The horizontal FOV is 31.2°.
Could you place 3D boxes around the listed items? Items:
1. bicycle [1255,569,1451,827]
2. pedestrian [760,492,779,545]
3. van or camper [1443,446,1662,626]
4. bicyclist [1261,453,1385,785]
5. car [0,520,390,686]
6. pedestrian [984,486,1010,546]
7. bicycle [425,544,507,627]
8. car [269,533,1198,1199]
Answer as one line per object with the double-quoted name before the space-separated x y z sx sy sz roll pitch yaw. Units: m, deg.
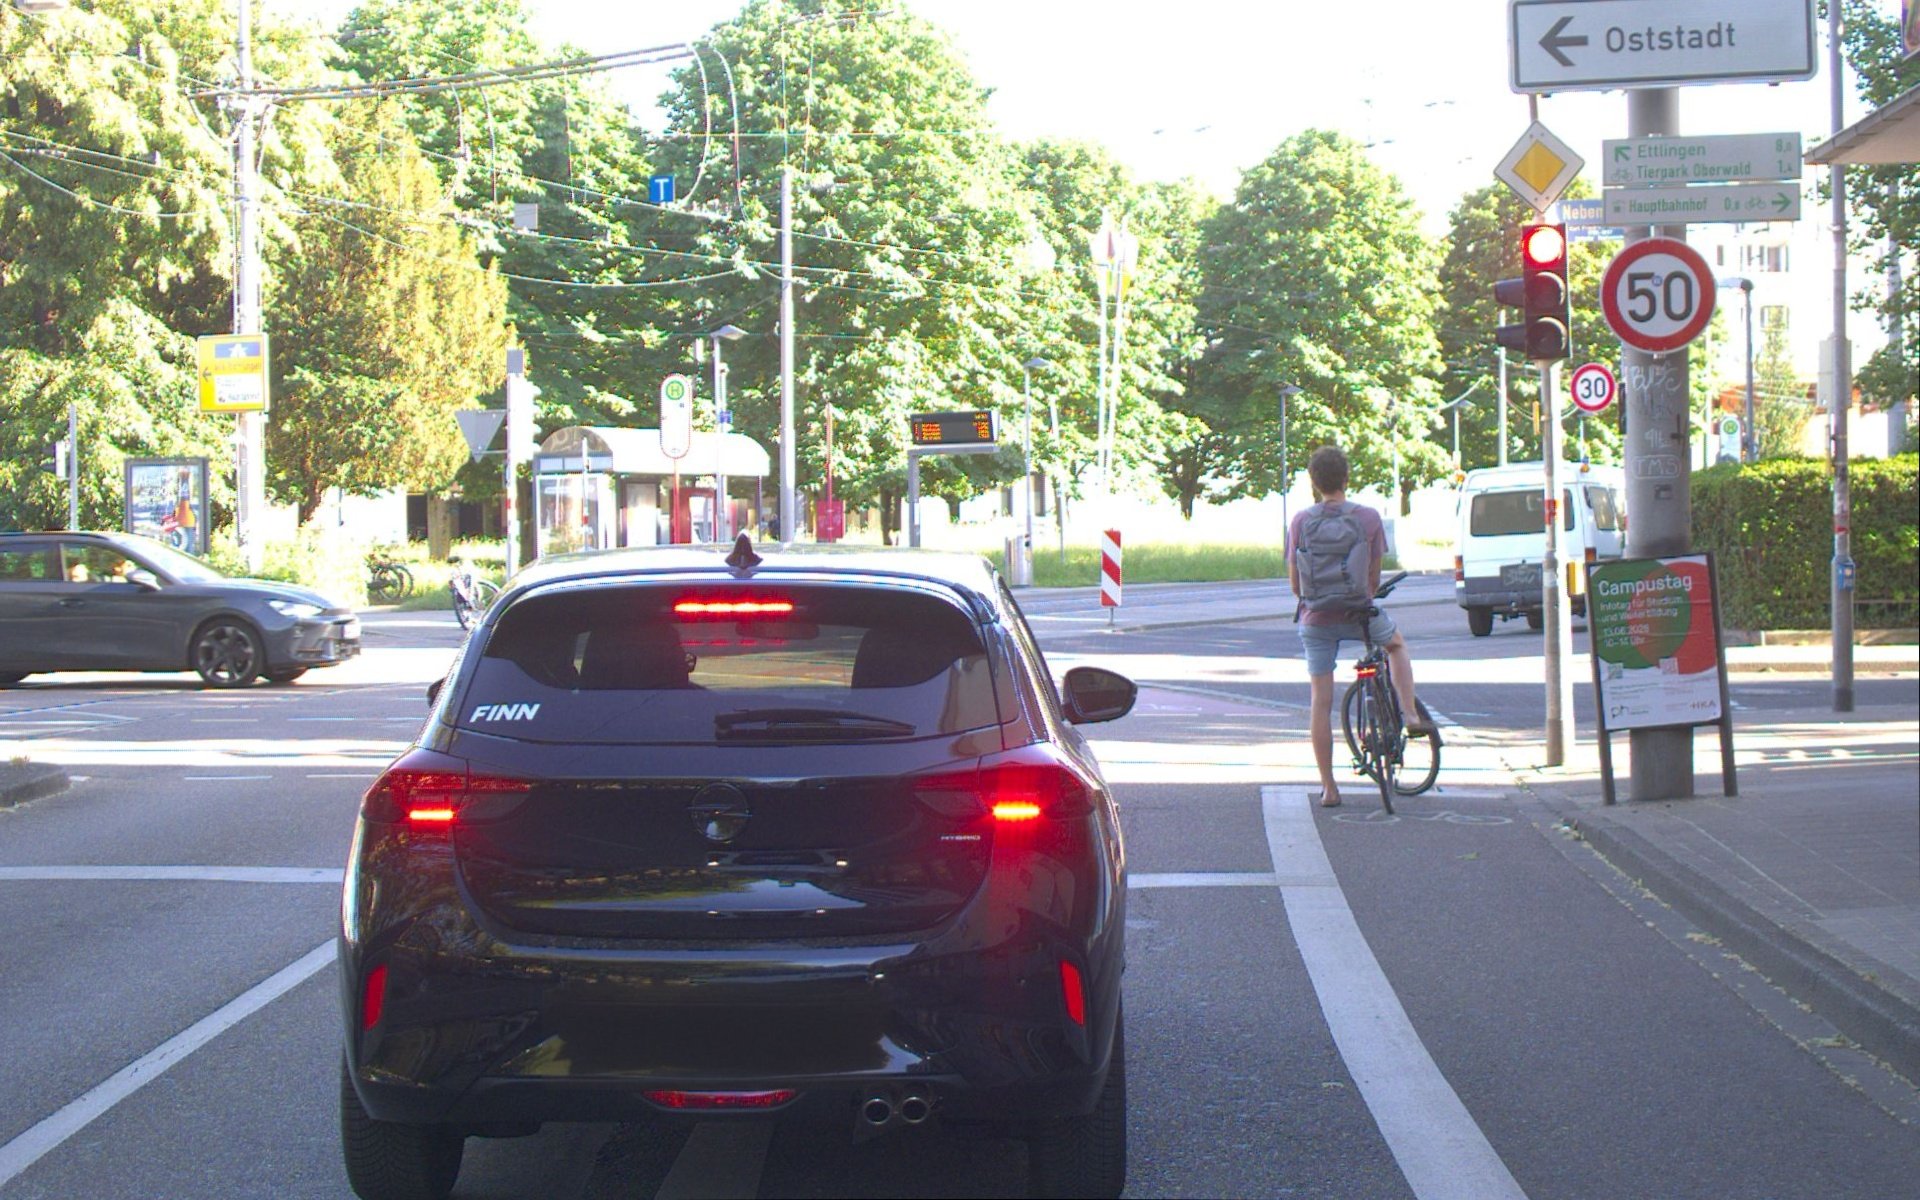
"bicycle" 2.073 0.473 17.916 0.753 1.231 2.014 0 1 14
"pedestrian" -6.718 -2.875 121.349 0.603 1.865 0.519 1 0 -6
"van or camper" 8.034 -0.841 46.292 2.031 2.302 4.535 1 1 21
"bicyclist" 1.883 0.088 17.799 0.534 1.686 0.567 0 1 17
"car" -7.803 0.002 31.564 4.727 1.468 1.939 0 1 5
"pedestrian" 1.156 -2.619 106.975 0.603 1.865 0.519 1 0 -27
"bicycle" -6.633 -0.209 46.268 0.796 1.061 2.185 0 1 -1
"car" -0.472 0.569 8.818 1.840 1.457 3.984 0 1 -1
